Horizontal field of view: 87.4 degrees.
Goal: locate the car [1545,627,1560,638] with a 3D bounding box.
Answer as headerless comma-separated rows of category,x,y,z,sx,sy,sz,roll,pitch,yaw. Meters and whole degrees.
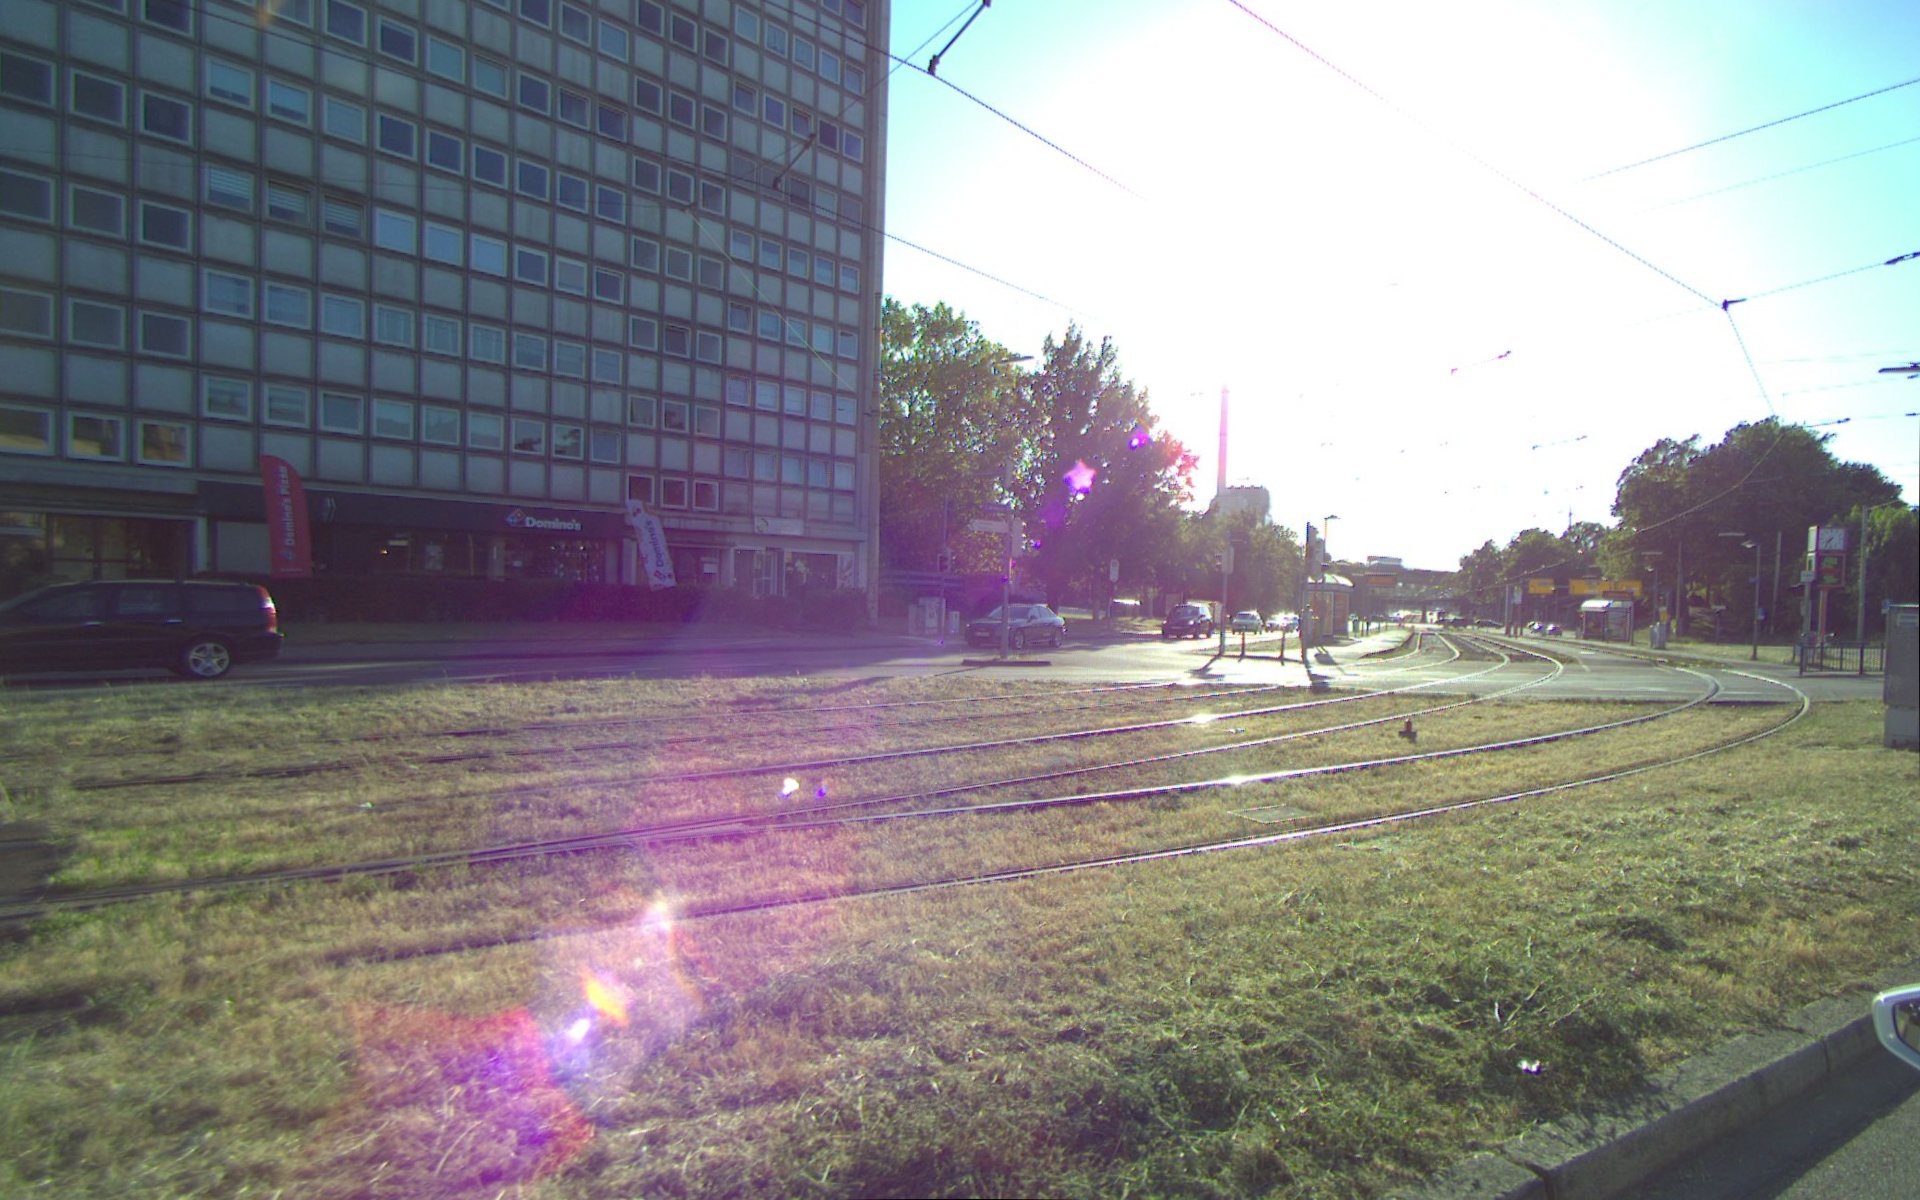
car,85.909,4.753,145.636,1.491,1.406,3.360,2,1,25

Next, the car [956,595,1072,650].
car,1.853,0.729,32.984,1.629,1.617,4.572,2,0,35

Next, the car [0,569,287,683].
car,-12.587,0.355,14.613,1.757,1.501,4.375,0,-1,42

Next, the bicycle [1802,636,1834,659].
bicycle,35.184,1.928,41.168,1.724,0.930,0.550,1,-1,-34

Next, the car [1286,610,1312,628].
car,29.953,1.659,88.748,1.664,1.550,3.697,2,0,26

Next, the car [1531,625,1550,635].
car,90.315,4.651,156.315,2.005,1.465,3.997,1,0,24

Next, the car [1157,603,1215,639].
car,11.216,1.050,49.595,1.557,1.616,4.144,3,0,30

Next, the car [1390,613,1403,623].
car,93.189,3.936,214.541,1.964,2.040,4.854,2,0,29

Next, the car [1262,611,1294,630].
car,25.387,1.599,80.203,1.774,1.386,3.960,2,1,27

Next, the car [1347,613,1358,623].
car,86.172,3.966,220.732,1.962,2.040,3.997,2,0,25

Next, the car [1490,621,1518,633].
car,113.040,5.588,208.772,4.793,2.041,1.989,3,2,43

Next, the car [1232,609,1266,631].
car,18.927,1.291,65.735,1.521,1.358,3.590,2,0,26
